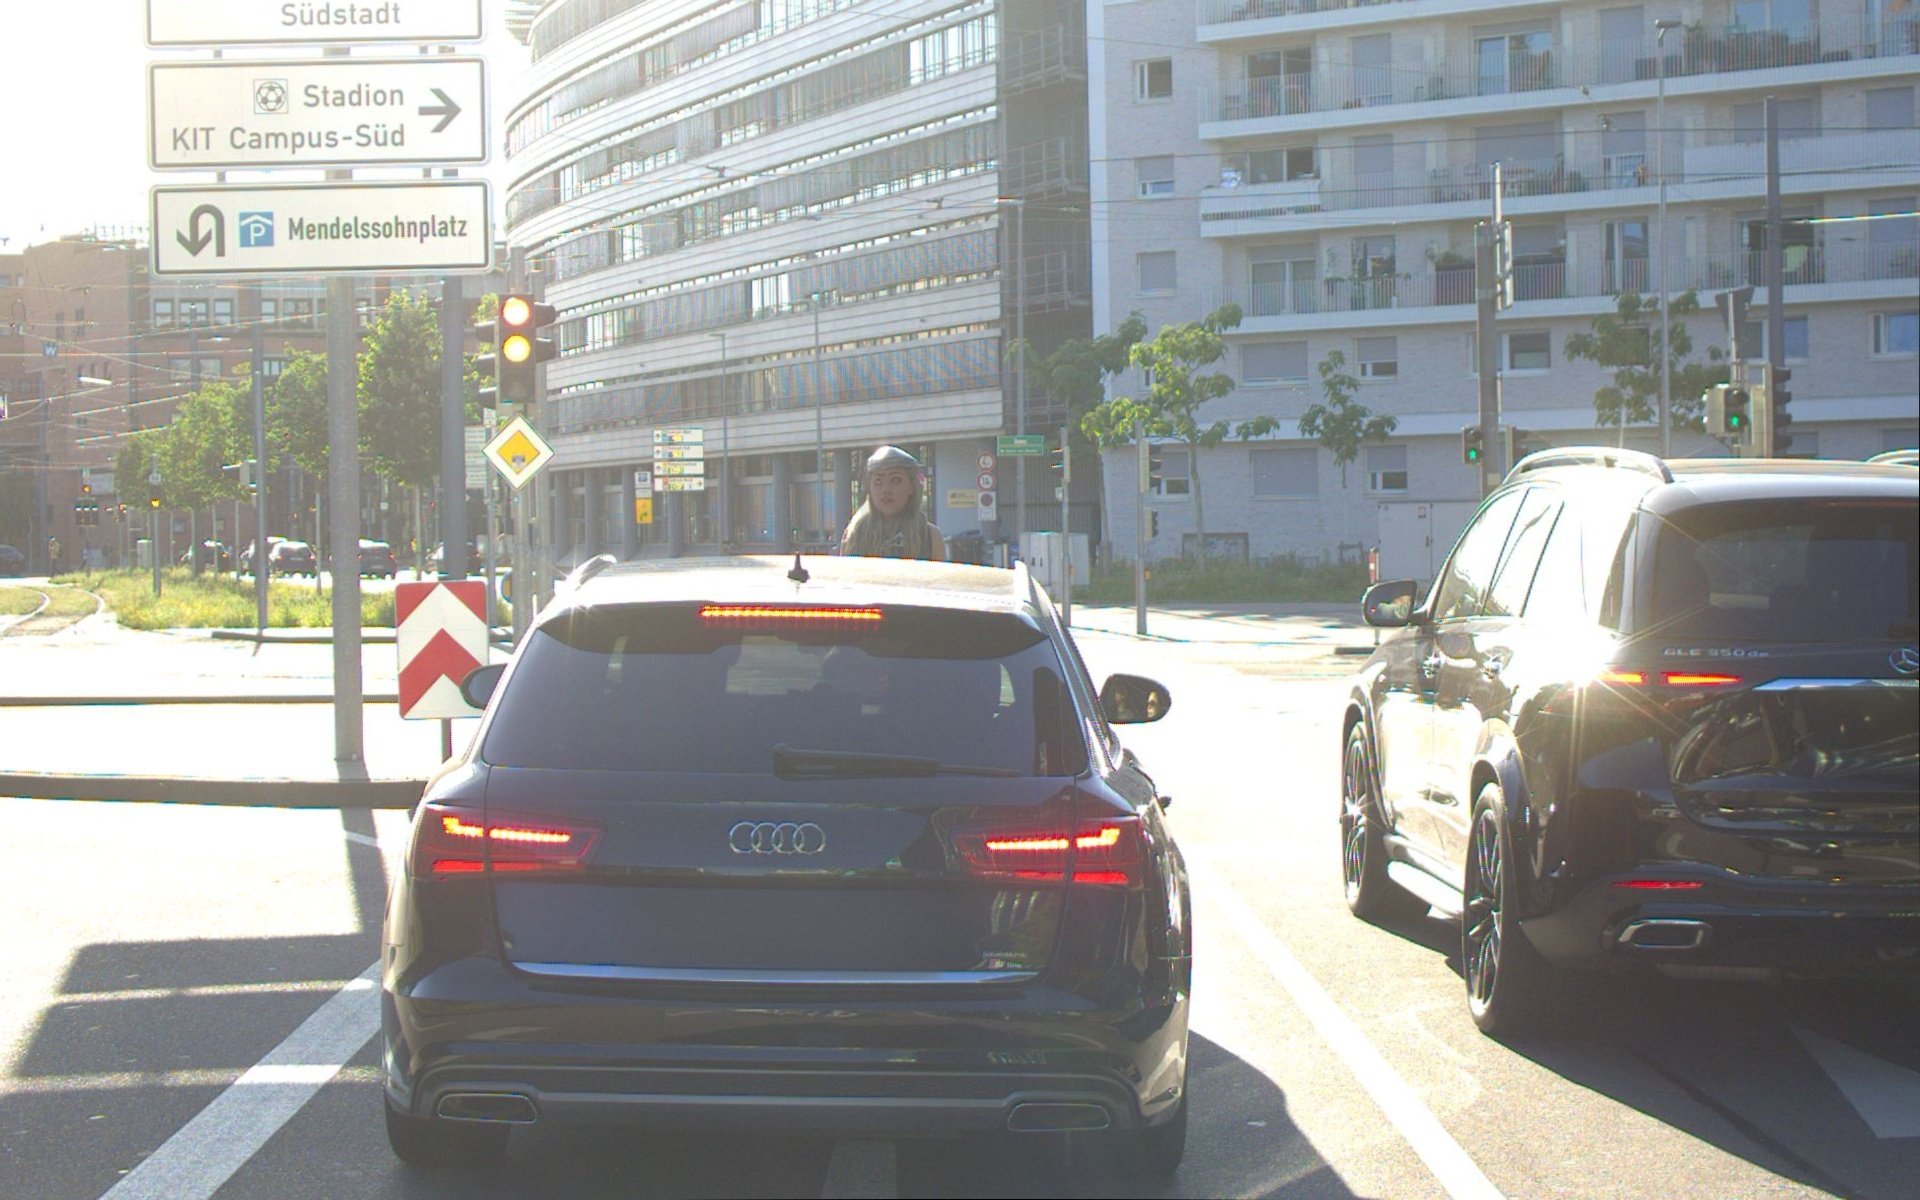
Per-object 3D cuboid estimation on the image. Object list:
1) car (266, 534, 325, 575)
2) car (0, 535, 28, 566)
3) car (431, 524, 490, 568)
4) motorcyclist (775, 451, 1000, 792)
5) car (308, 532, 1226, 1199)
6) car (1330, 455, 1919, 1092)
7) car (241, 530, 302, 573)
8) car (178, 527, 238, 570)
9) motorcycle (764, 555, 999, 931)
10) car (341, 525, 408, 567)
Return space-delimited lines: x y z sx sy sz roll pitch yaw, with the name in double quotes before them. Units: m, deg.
"car" -27.150 -1.849 140.426 1.993 1.590 4.001 -2 1 -16
"car" -51.684 -2.590 181.523 4.397 1.634 2.000 -1 1 -28
"car" -21.928 -2.347 150.709 1.993 1.831 4.001 -2 1 -16
"motorcyclist" -0.287 0.079 13.750 0.862 1.322 0.681 -1 1 0
"car" -0.427 0.578 8.965 1.842 1.449 4.001 1 2 -1
"car" 2.514 0.418 11.482 2.003 1.709 4.373 1 2 -1
"car" -29.325 -2.063 146.435 1.993 1.700 4.001 -2 1 -19
"car" -31.873 -2.169 145.647 1.993 1.700 4.001 -2 1 -19
"motorcycle" -0.303 0.522 13.809 0.862 1.388 1.894 -1 1 -1
"car" -23.542 -2.170 138.057 1.993 1.590 4.001 -2 1 -19
